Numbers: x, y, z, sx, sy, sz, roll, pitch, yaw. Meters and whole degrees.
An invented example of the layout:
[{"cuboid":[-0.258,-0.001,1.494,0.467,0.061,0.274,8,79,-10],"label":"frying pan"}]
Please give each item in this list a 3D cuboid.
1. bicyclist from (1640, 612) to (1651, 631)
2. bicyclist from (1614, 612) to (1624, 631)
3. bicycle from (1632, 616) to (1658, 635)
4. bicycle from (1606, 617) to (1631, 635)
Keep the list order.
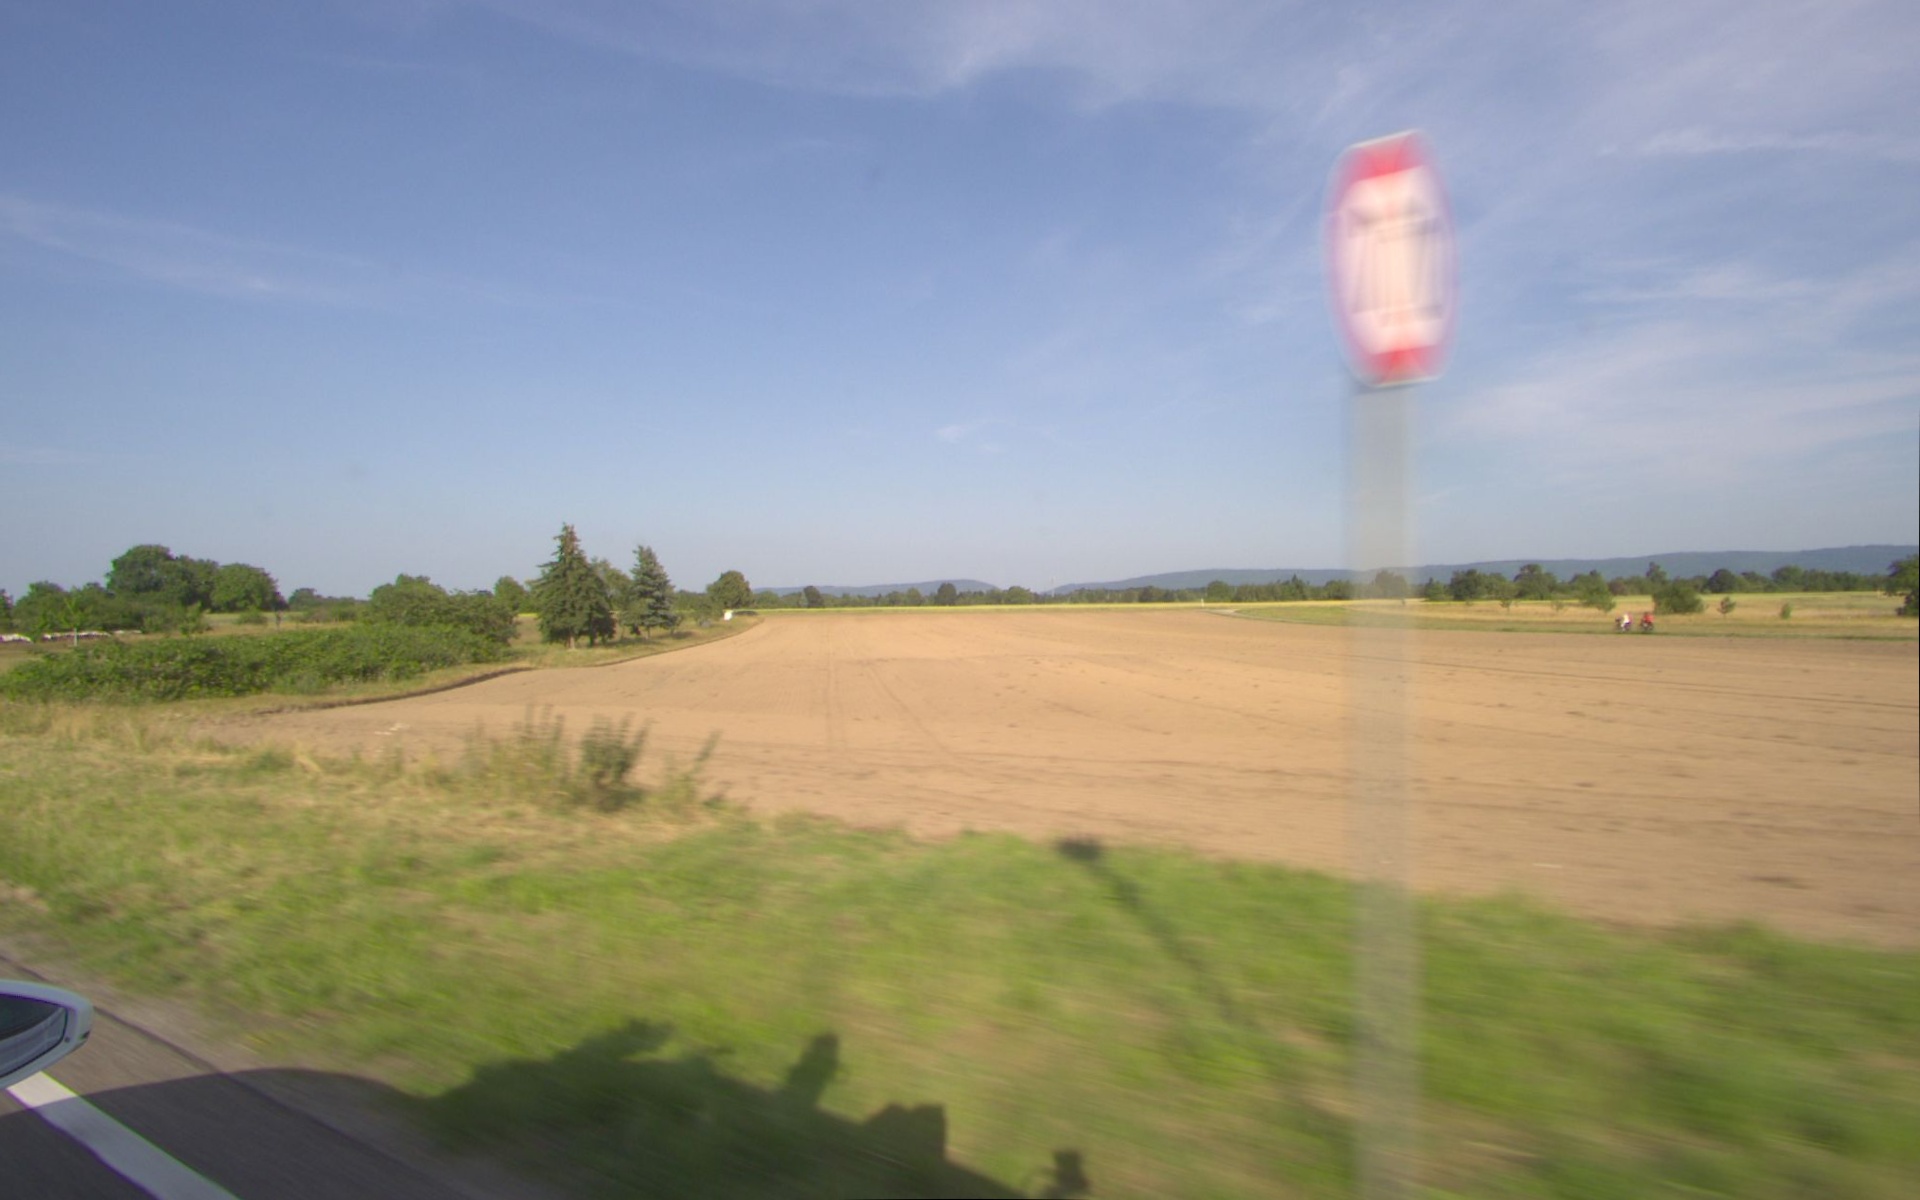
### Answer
[{"cuboid":[58.035,1.829,84.792,0.479,1.617,0.550,0,-1,-15],"label":"bicyclist"},{"cuboid":[56.444,1.843,85.733,0.479,1.617,0.550,0,-1,-15],"label":"bicyclist"},{"cuboid":[58.029,2.195,84.875,0.494,1.550,1.975,0,-2,-14],"label":"bicycle"},{"cuboid":[56.418,2.243,85.819,0.494,1.550,1.975,0,-2,-14],"label":"bicycle"}]
